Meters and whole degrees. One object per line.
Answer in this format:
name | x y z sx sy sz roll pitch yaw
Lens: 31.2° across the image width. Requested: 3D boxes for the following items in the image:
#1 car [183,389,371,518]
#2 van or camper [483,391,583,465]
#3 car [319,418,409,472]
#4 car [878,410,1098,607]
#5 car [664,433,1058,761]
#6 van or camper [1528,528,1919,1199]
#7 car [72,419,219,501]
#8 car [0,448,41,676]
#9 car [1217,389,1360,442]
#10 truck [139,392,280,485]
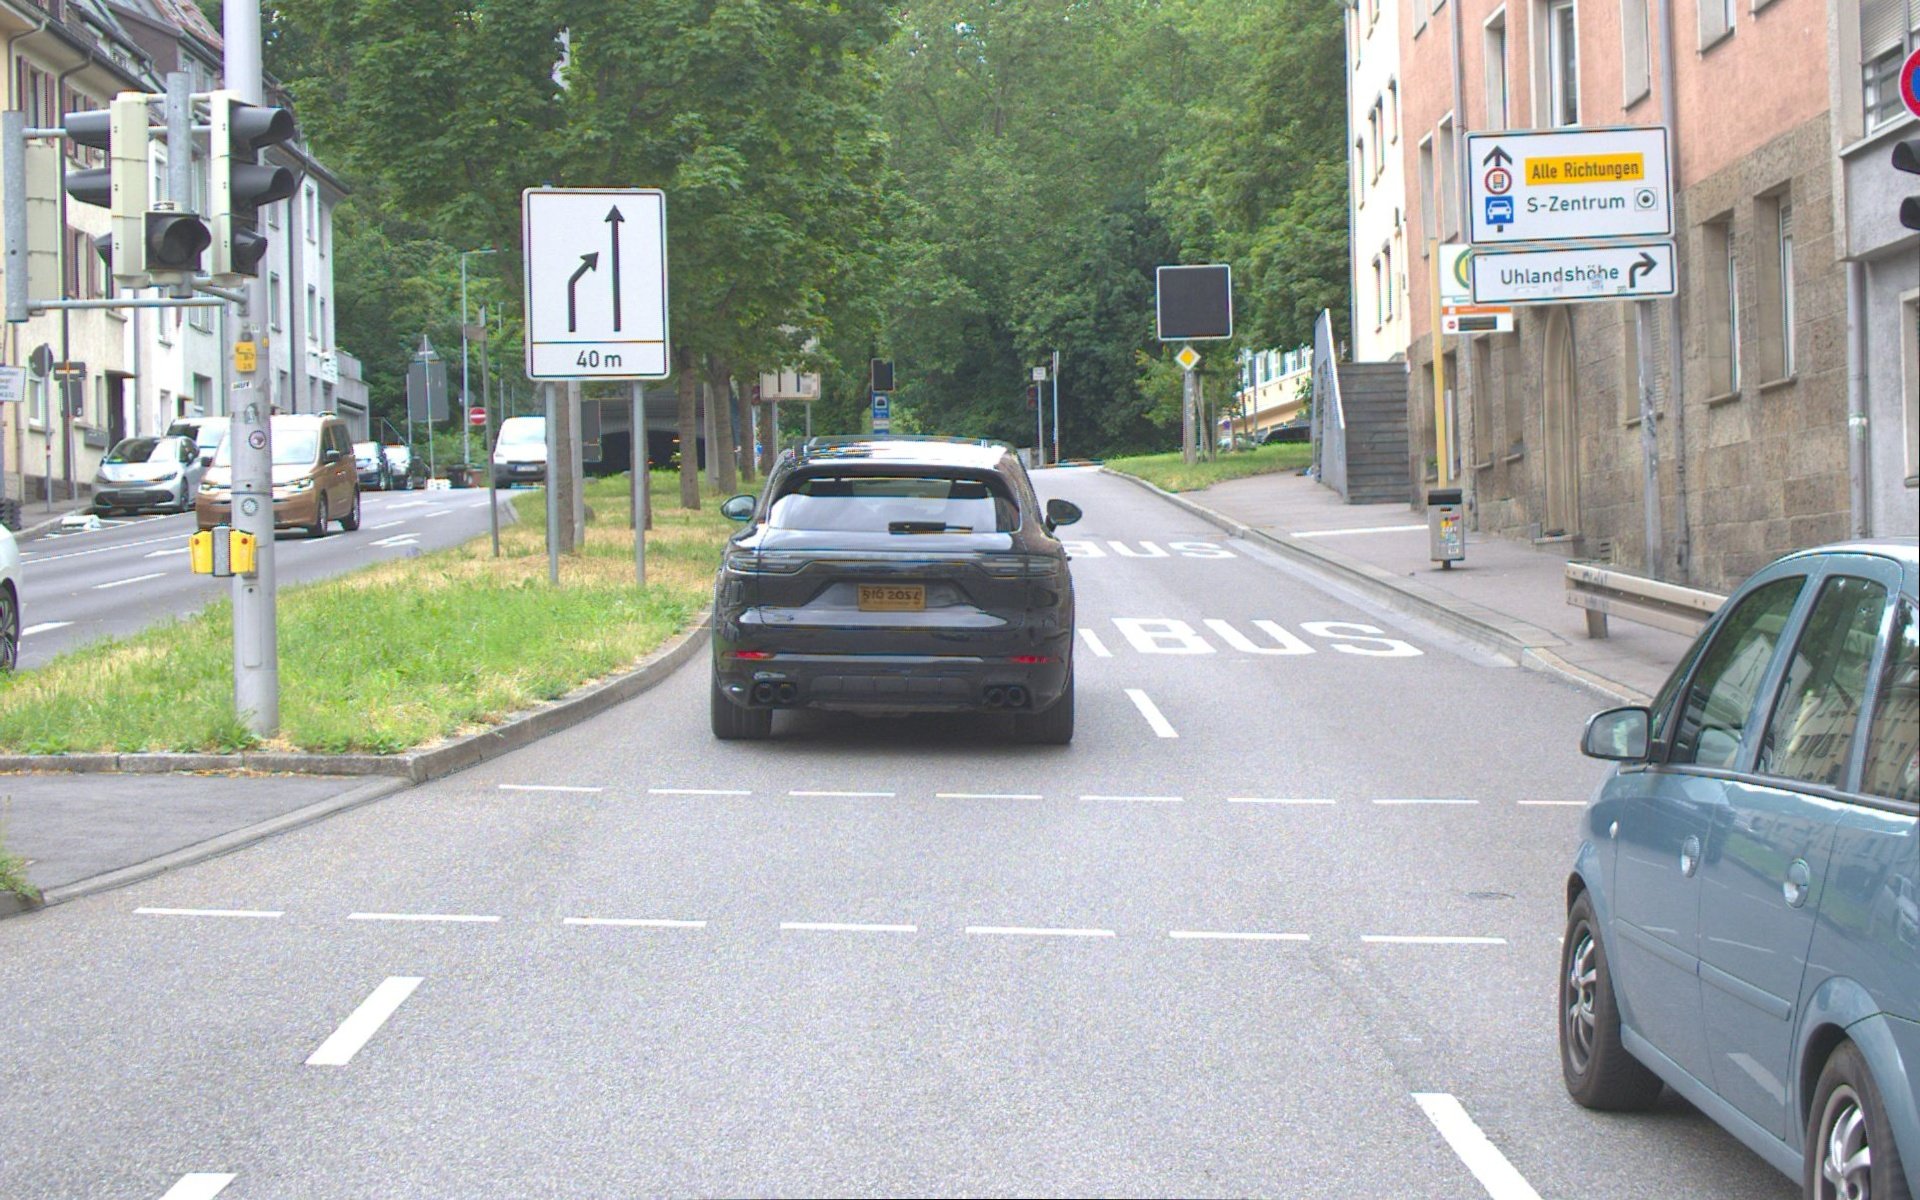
car | -10.083 -2.174 51.042 1.879 1.809 4.352 1 2 0
van or camper | -10.609 -4.265 85.703 1.908 1.755 4.655 1 2 0
car | -16.415 -4.296 94.788 1.993 1.418 4.213 -1 3 -4
car | 0.288 -0.931 32.868 1.934 1.647 4.001 -2 4 1
car | -0.479 -0.104 19.807 1.993 1.647 4.001 -2 3 1
van or camper | 2.487 0.657 7.722 1.735 1.572 3.646 1 2 -1
car | -16.205 -2.821 68.602 1.993 1.547 4.159 -1 3 -1
car | -7.080 -0.151 20.995 1.745 1.462 4.587 -1 3 -1
car | 9.464 -5.321 98.898 1.999 1.413 3.990 1 4 44
truck | -16.325 -3.548 75.045 1.993 1.913 5.348 -1 3 -1
